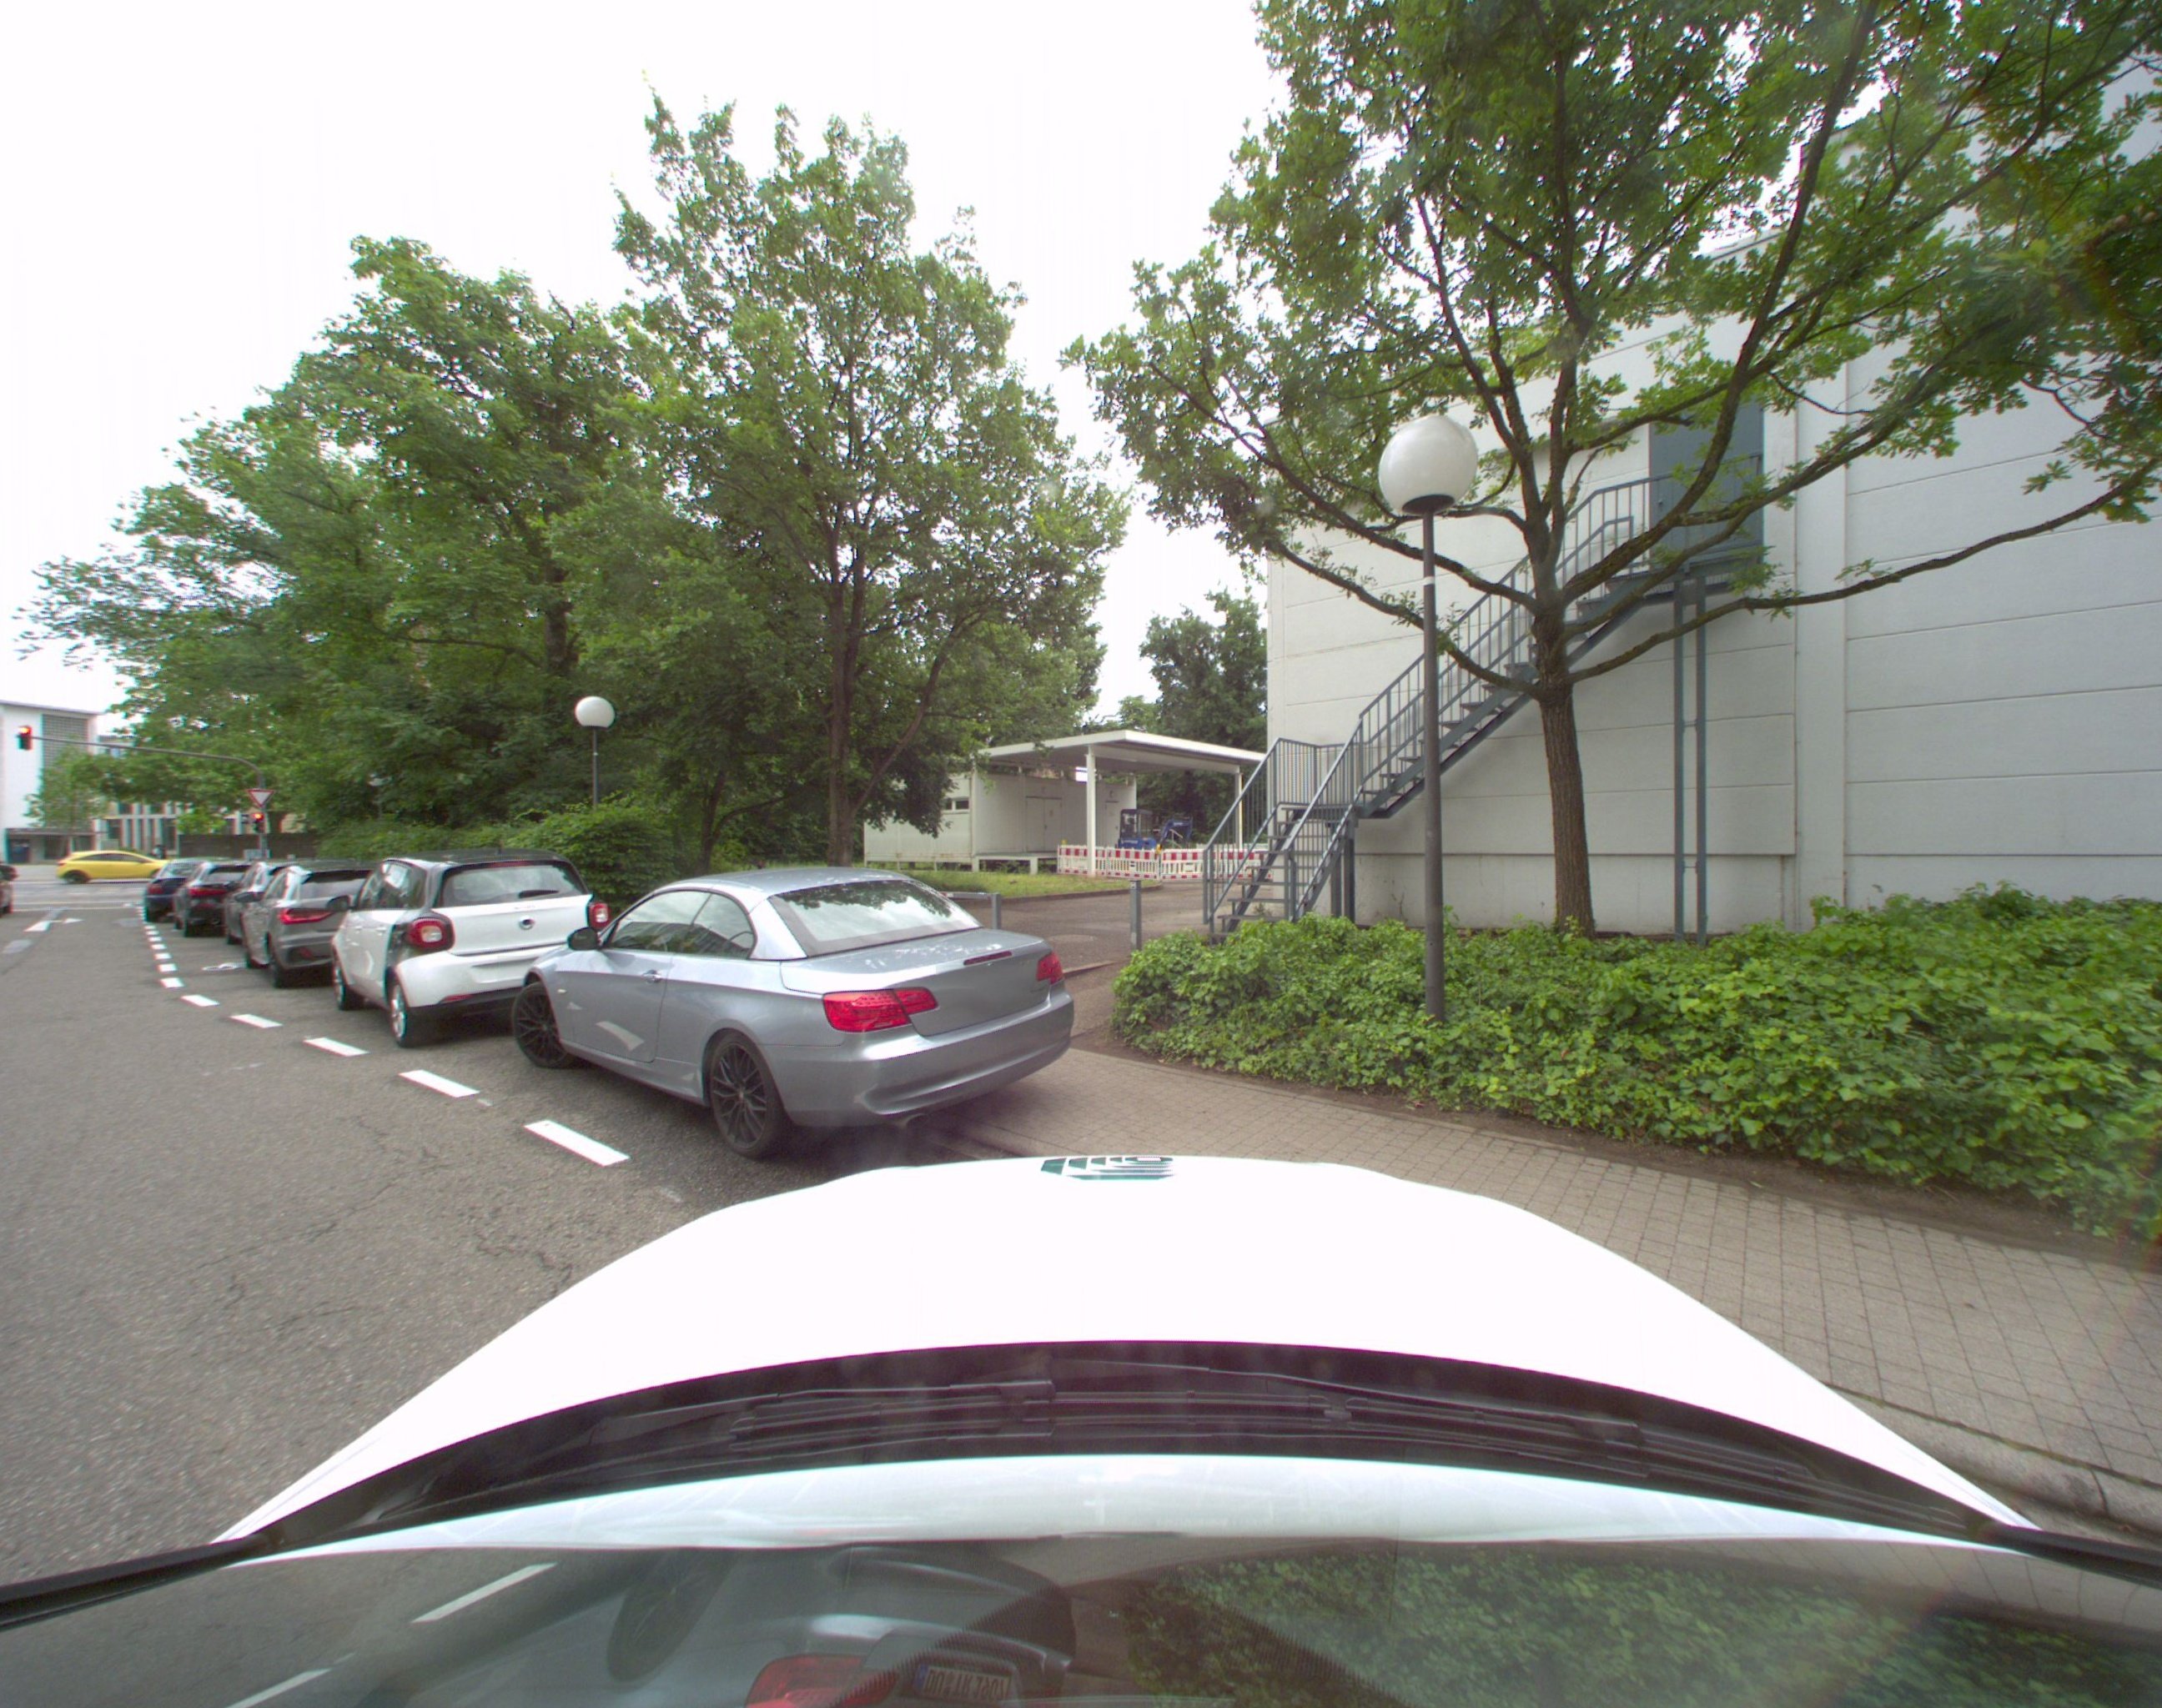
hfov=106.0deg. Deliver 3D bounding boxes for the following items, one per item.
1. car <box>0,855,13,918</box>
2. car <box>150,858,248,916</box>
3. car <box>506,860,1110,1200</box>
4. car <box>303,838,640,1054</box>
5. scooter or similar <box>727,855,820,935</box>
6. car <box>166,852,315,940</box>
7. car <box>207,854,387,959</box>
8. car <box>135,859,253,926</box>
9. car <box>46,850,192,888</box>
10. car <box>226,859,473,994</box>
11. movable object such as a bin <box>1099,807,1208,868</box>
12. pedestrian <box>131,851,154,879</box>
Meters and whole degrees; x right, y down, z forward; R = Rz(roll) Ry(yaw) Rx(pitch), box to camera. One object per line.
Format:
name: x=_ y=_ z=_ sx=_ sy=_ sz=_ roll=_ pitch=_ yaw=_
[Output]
car: x=-27.823 y=0.786 z=19.944 sx=4.115 sy=1.497 sz=1.800 roll=0 pitch=1 yaw=40
car: x=-25.435 y=0.877 z=23.495 sx=4.194 sy=1.469 sz=1.814 roll=0 pitch=1 yaw=42
car: x=-2.035 y=0.767 z=5.472 sx=4.140 sy=1.388 sz=1.835 roll=0 pitch=1 yaw=38
car: x=-6.029 y=0.689 z=7.906 sx=3.828 sy=1.586 sz=1.732 roll=-1 pitch=1 yaw=39
scooter or similar: x=-4.871 y=0.643 z=12.947 sx=1.302 sy=1.210 sz=0.449 roll=-1 pitch=1 yaw=-9
car: x=-17.339 y=0.764 z=16.733 sx=4.472 sy=1.561 sz=1.815 roll=-1 pitch=0 yaw=40
car: x=-13.173 y=0.757 z=13.625 sx=3.776 sy=1.471 sz=1.778 roll=0 pitch=1 yaw=40
car: x=-21.752 y=0.869 z=20.087 sx=4.282 sy=1.408 sz=1.814 roll=1 pitch=1 yaw=44
car: x=-44.411 y=0.648 z=37.761 sx=1.975 sy=1.618 sz=4.219 roll=0 pitch=1 yaw=44
car: x=-9.689 y=0.799 z=10.694 sx=3.957 sy=1.411 sz=1.780 roll=-1 pitch=1 yaw=39
movable object such as a bin: x=2.866 y=-0.580 z=31.282 sx=1.974 sy=2.171 sz=4.700 roll=0 pitch=0 yaw=37
pedestrian: x=-57.348 y=0.647 z=49.759 sx=0.622 sy=1.666 sz=0.617 roll=-1 pitch=1 yaw=-8
